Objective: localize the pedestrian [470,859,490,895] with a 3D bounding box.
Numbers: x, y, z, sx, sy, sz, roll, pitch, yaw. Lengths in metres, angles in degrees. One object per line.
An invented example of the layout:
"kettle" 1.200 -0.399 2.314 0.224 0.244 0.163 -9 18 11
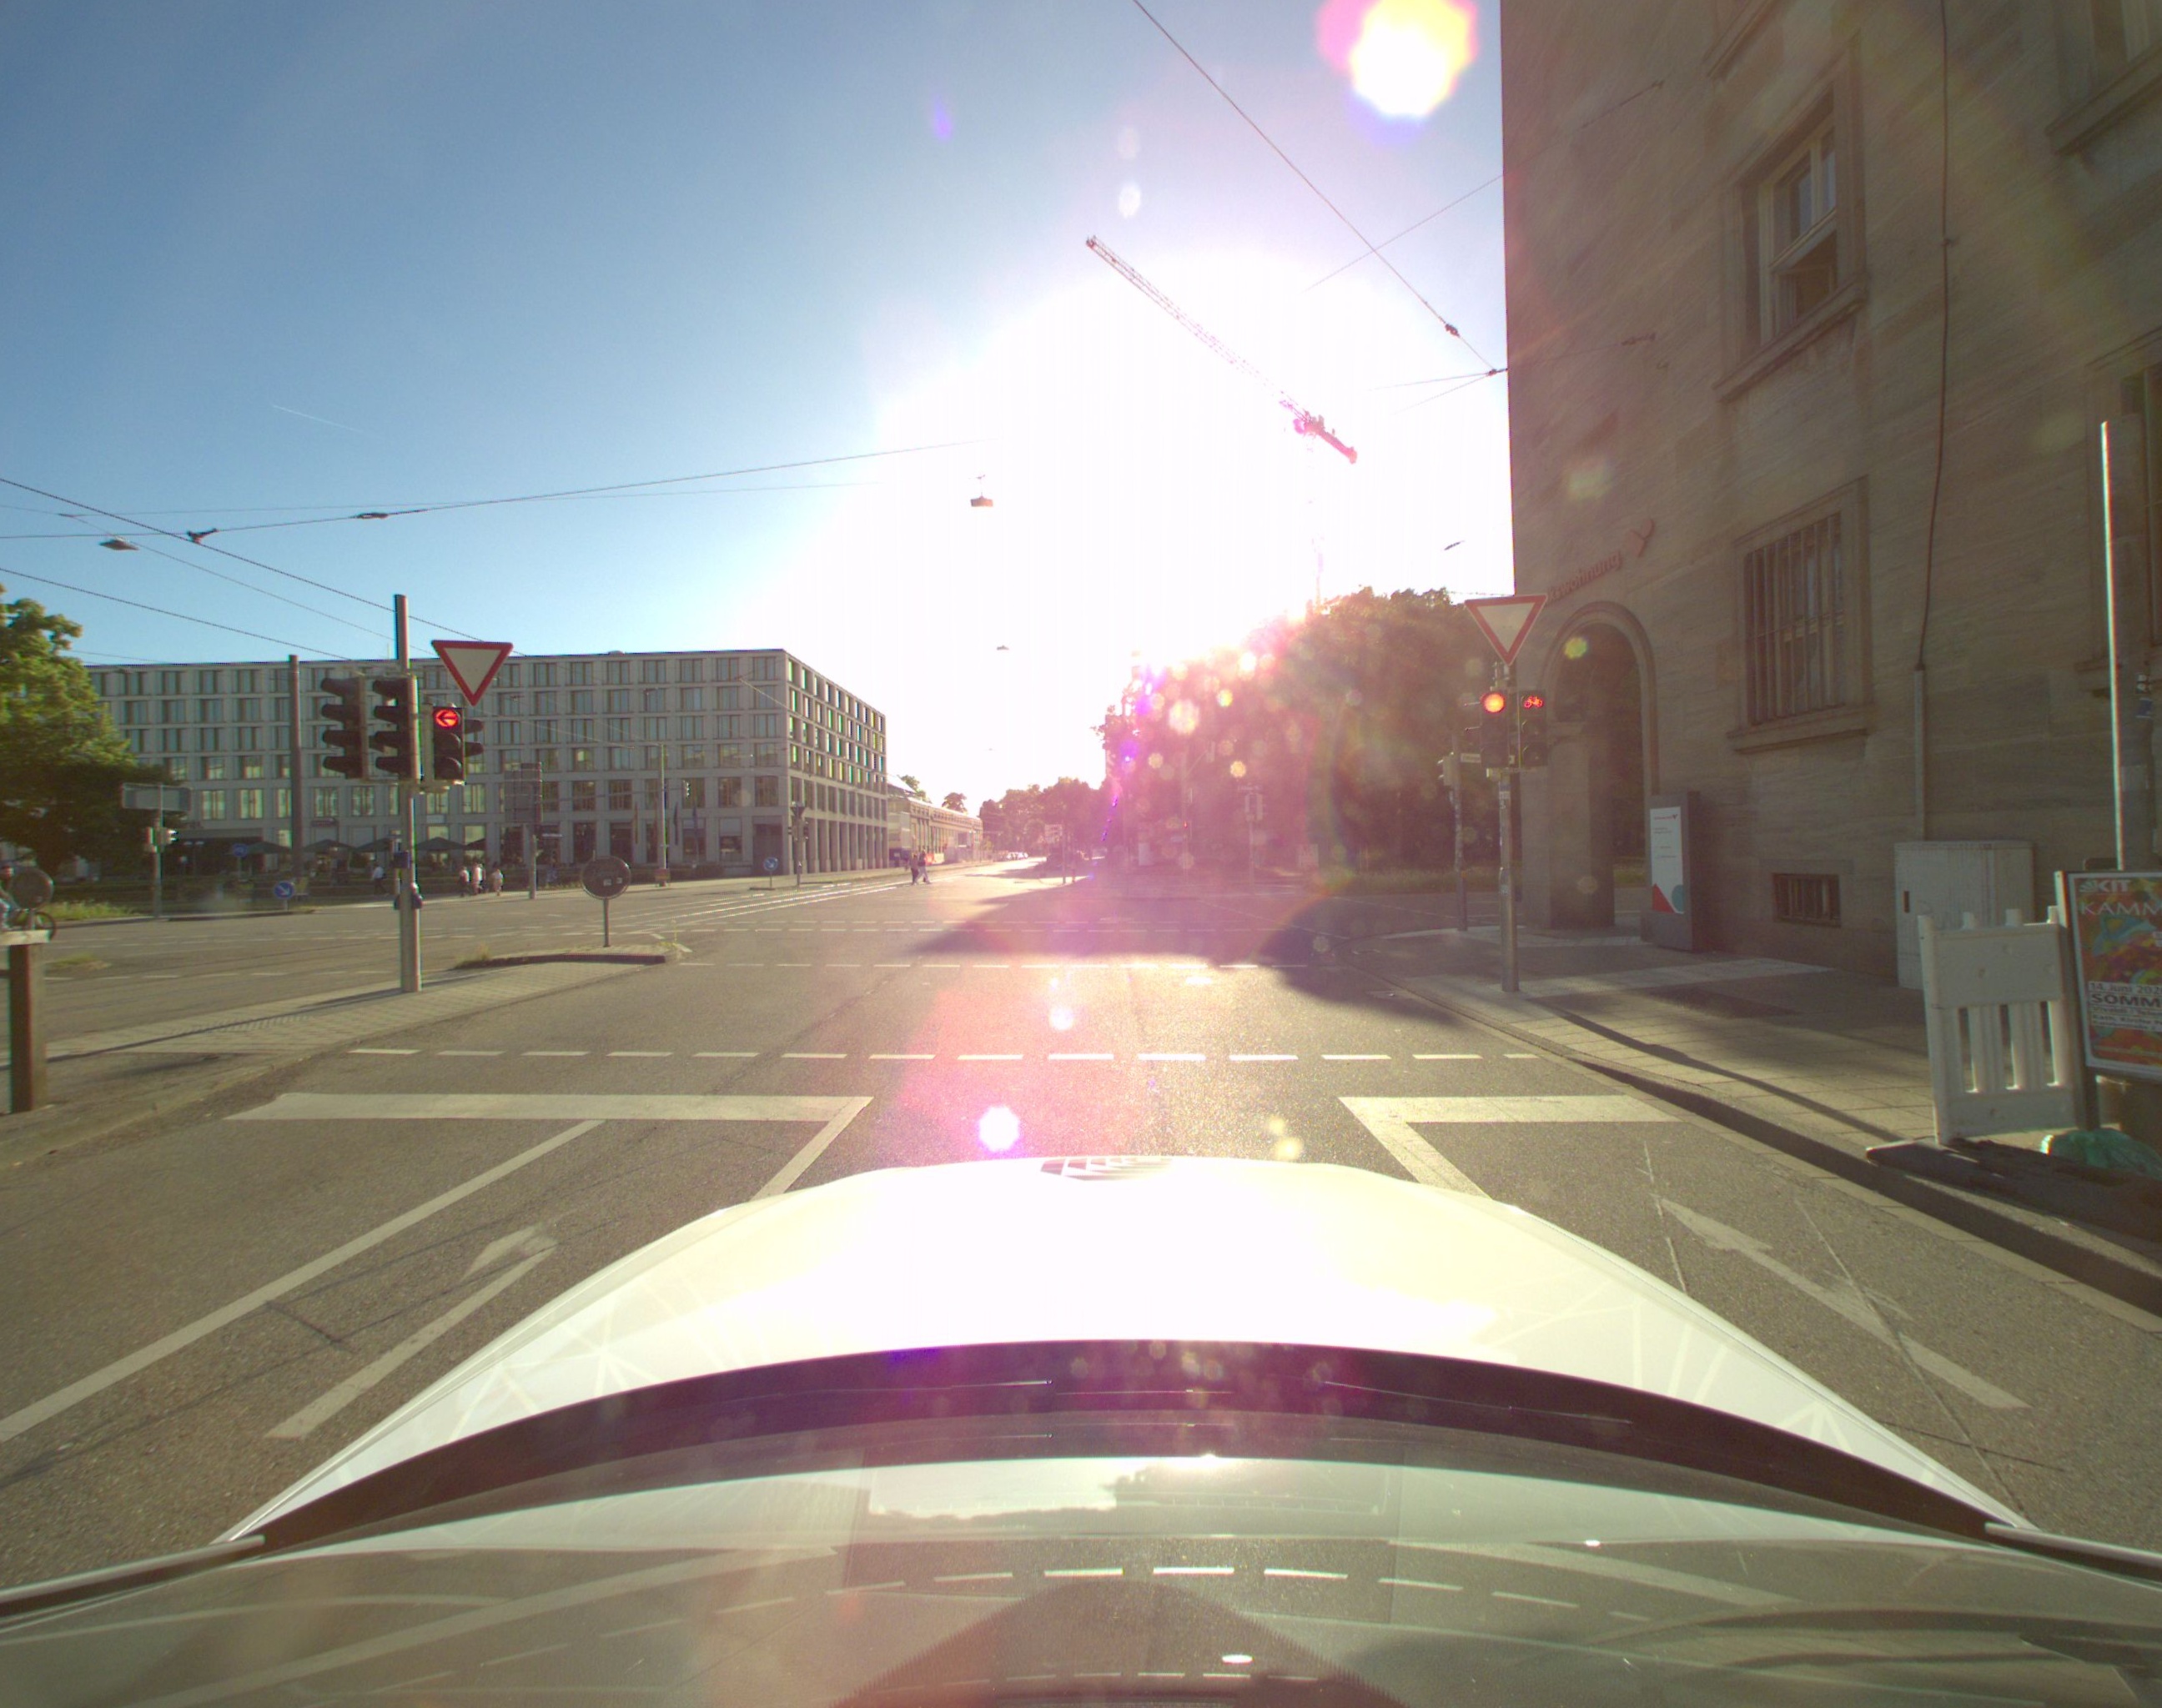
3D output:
"pedestrian" -34.223 1.301 46.364 0.528 2.013 0.800 -2 0 -5

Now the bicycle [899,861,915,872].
"bicycle" -18.534 1.304 86.771 0.872 1.121 3.015 -2 0 3

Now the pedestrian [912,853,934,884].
"pedestrian" -8.408 0.770 43.283 0.980 1.587 0.661 -2 -1 3

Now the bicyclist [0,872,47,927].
"bicyclist" -24.738 1.050 18.779 0.718 1.218 0.798 -2 0 1

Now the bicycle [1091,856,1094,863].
"bicycle" 1.384 0.655 100.957 0.323 0.868 1.484 -2 0 2

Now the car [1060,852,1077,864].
"car" -1.334 0.438 91.498 1.814 1.279 3.999 -2 0 0

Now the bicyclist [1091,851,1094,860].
"bicyclist" 1.401 0.150 101.005 0.317 1.127 0.291 -2 0 1

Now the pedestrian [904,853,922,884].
"pedestrian" -9.133 0.784 44.200 0.792 1.639 0.534 -2 0 4

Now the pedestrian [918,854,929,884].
"pedestrian" -8.729 0.817 45.150 0.440 1.662 0.376 -2 0 1

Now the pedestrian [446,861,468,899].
"pedestrian" -33.703 1.372 44.004 0.528 2.013 0.800 -2 0 -5

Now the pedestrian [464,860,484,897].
"pedestrian" -33.843 1.348 45.427 0.528 2.013 0.800 -2 0 -5

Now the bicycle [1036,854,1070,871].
"bicycle" -2.322 0.727 67.361 2.728 1.367 0.633 -1 -1 12

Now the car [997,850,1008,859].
"car" -15.441 0.168 160.732 1.724 1.653 4.002 -2 0 2

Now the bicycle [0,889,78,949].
"bicycle" -24.610 1.505 18.763 1.979 1.291 0.792 -2 0 0

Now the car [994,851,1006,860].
"car" -15.540 0.226 156.654 1.724 1.653 4.002 -2 0 2

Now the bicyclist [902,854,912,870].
"bicyclist" -18.542 0.870 86.822 0.872 1.641 0.822 -2 0 3

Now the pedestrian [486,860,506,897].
"pedestrian" -32.564 1.345 45.330 0.528 2.013 0.800 -2 0 -5

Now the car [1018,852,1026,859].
"car" -14.045 0.341 194.903 1.478 1.750 4.002 -2 0 2

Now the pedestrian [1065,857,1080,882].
"pedestrian" -0.453 0.859 44.675 0.749 1.332 0.743 -2 0 3

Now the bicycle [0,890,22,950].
"bicycle" -24.515 1.484 17.714 1.846 1.291 0.791 -2 0 -2

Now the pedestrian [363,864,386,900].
"pedestrian" -38.248 1.526 44.087 0.557 1.903 0.684 -2 0 10

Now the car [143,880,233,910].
"car" -46.901 2.149 42.816 3.171 1.438 1.473 -2 0 3

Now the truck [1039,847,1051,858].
"truck" -7.078 -0.311 160.729 1.908 2.092 4.002 -2 0 2
